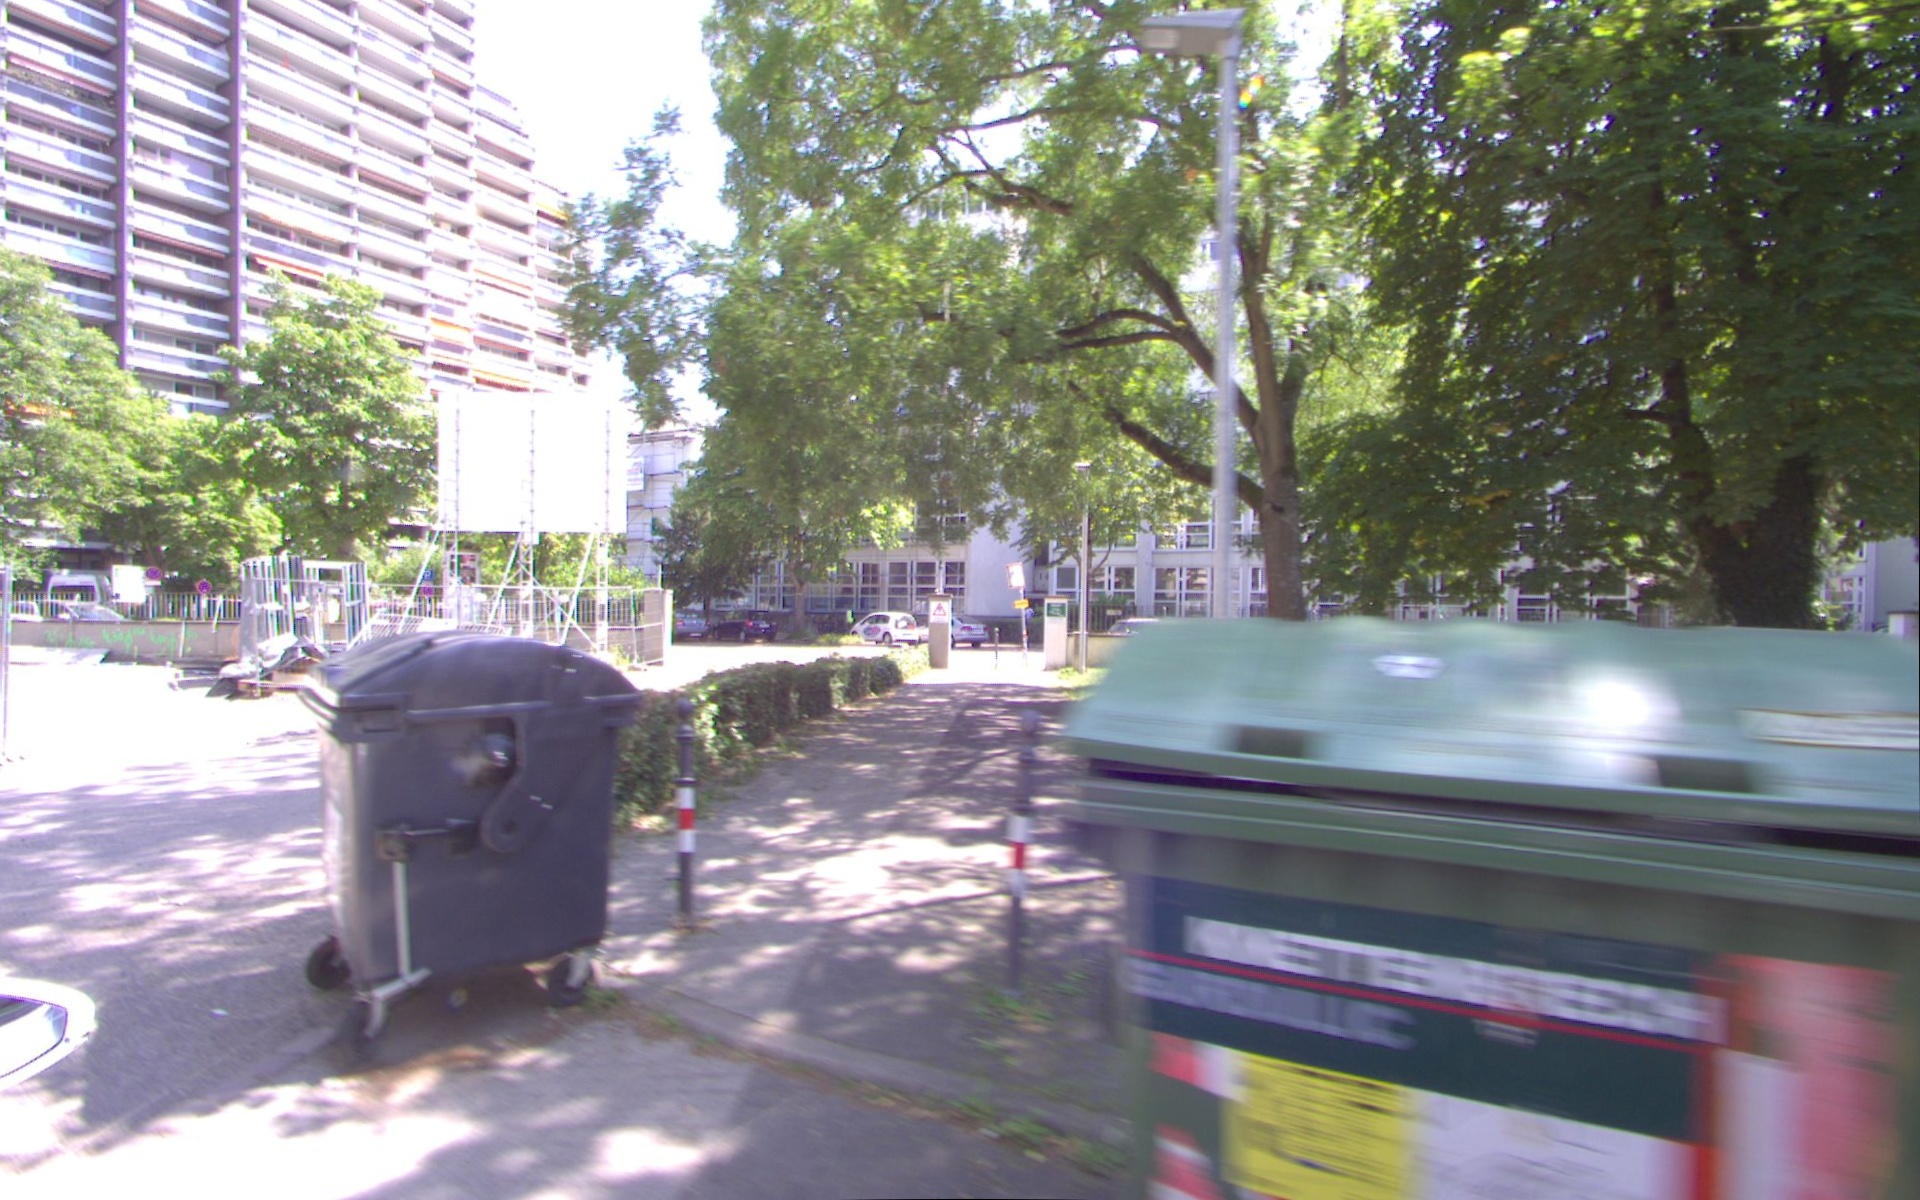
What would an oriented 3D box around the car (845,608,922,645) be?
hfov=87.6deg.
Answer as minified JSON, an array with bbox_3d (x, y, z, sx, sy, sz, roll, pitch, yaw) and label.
[{"bbox_3d":[-3.553,1.181,46.160,1.653,1.610,3.657,1,0,-43],"label":"car"}]

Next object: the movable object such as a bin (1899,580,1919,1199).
[{"bbox_3d":[1.984,0.701,0.978,1.357,1.477,1.073,1,0,32],"label":"movable object such as a bin"}]

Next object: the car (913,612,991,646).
[{"bbox_3d":[-0.392,1.296,45.712,1.651,1.434,3.680,1,0,-40],"label":"car"}]

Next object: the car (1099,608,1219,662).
[{"bbox_3d":[5.810,1.013,29.472,3.267,1.499,1.433,1,0,3],"label":"car"}]

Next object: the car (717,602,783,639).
[{"bbox_3d":[-9.782,0.931,46.360,1.988,1.651,3.911,1,0,-28],"label":"car"}]

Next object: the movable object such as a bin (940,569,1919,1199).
[{"bbox_3d":[0.822,0.711,1.765,1.357,1.477,1.073,1,0,32],"label":"movable object such as a bin"}]

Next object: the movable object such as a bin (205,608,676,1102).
[{"bbox_3d":[-1.968,0.776,3.831,1.357,1.477,1.073,1,0,32],"label":"movable object such as a bin"}]

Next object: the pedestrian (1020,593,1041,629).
[{"bbox_3d":[4.016,0.614,57.023,0.862,2.040,0.993,1,0,24],"label":"pedestrian"}]

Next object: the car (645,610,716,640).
[{"bbox_3d":[-12.917,1.127,46.122,1.897,1.327,3.901,1,0,-37],"label":"car"}]

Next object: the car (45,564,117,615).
[{"bbox_3d":[-41.521,-0.471,47.414,2.165,2.288,4.832,0,0,-37],"label":"car"}]
